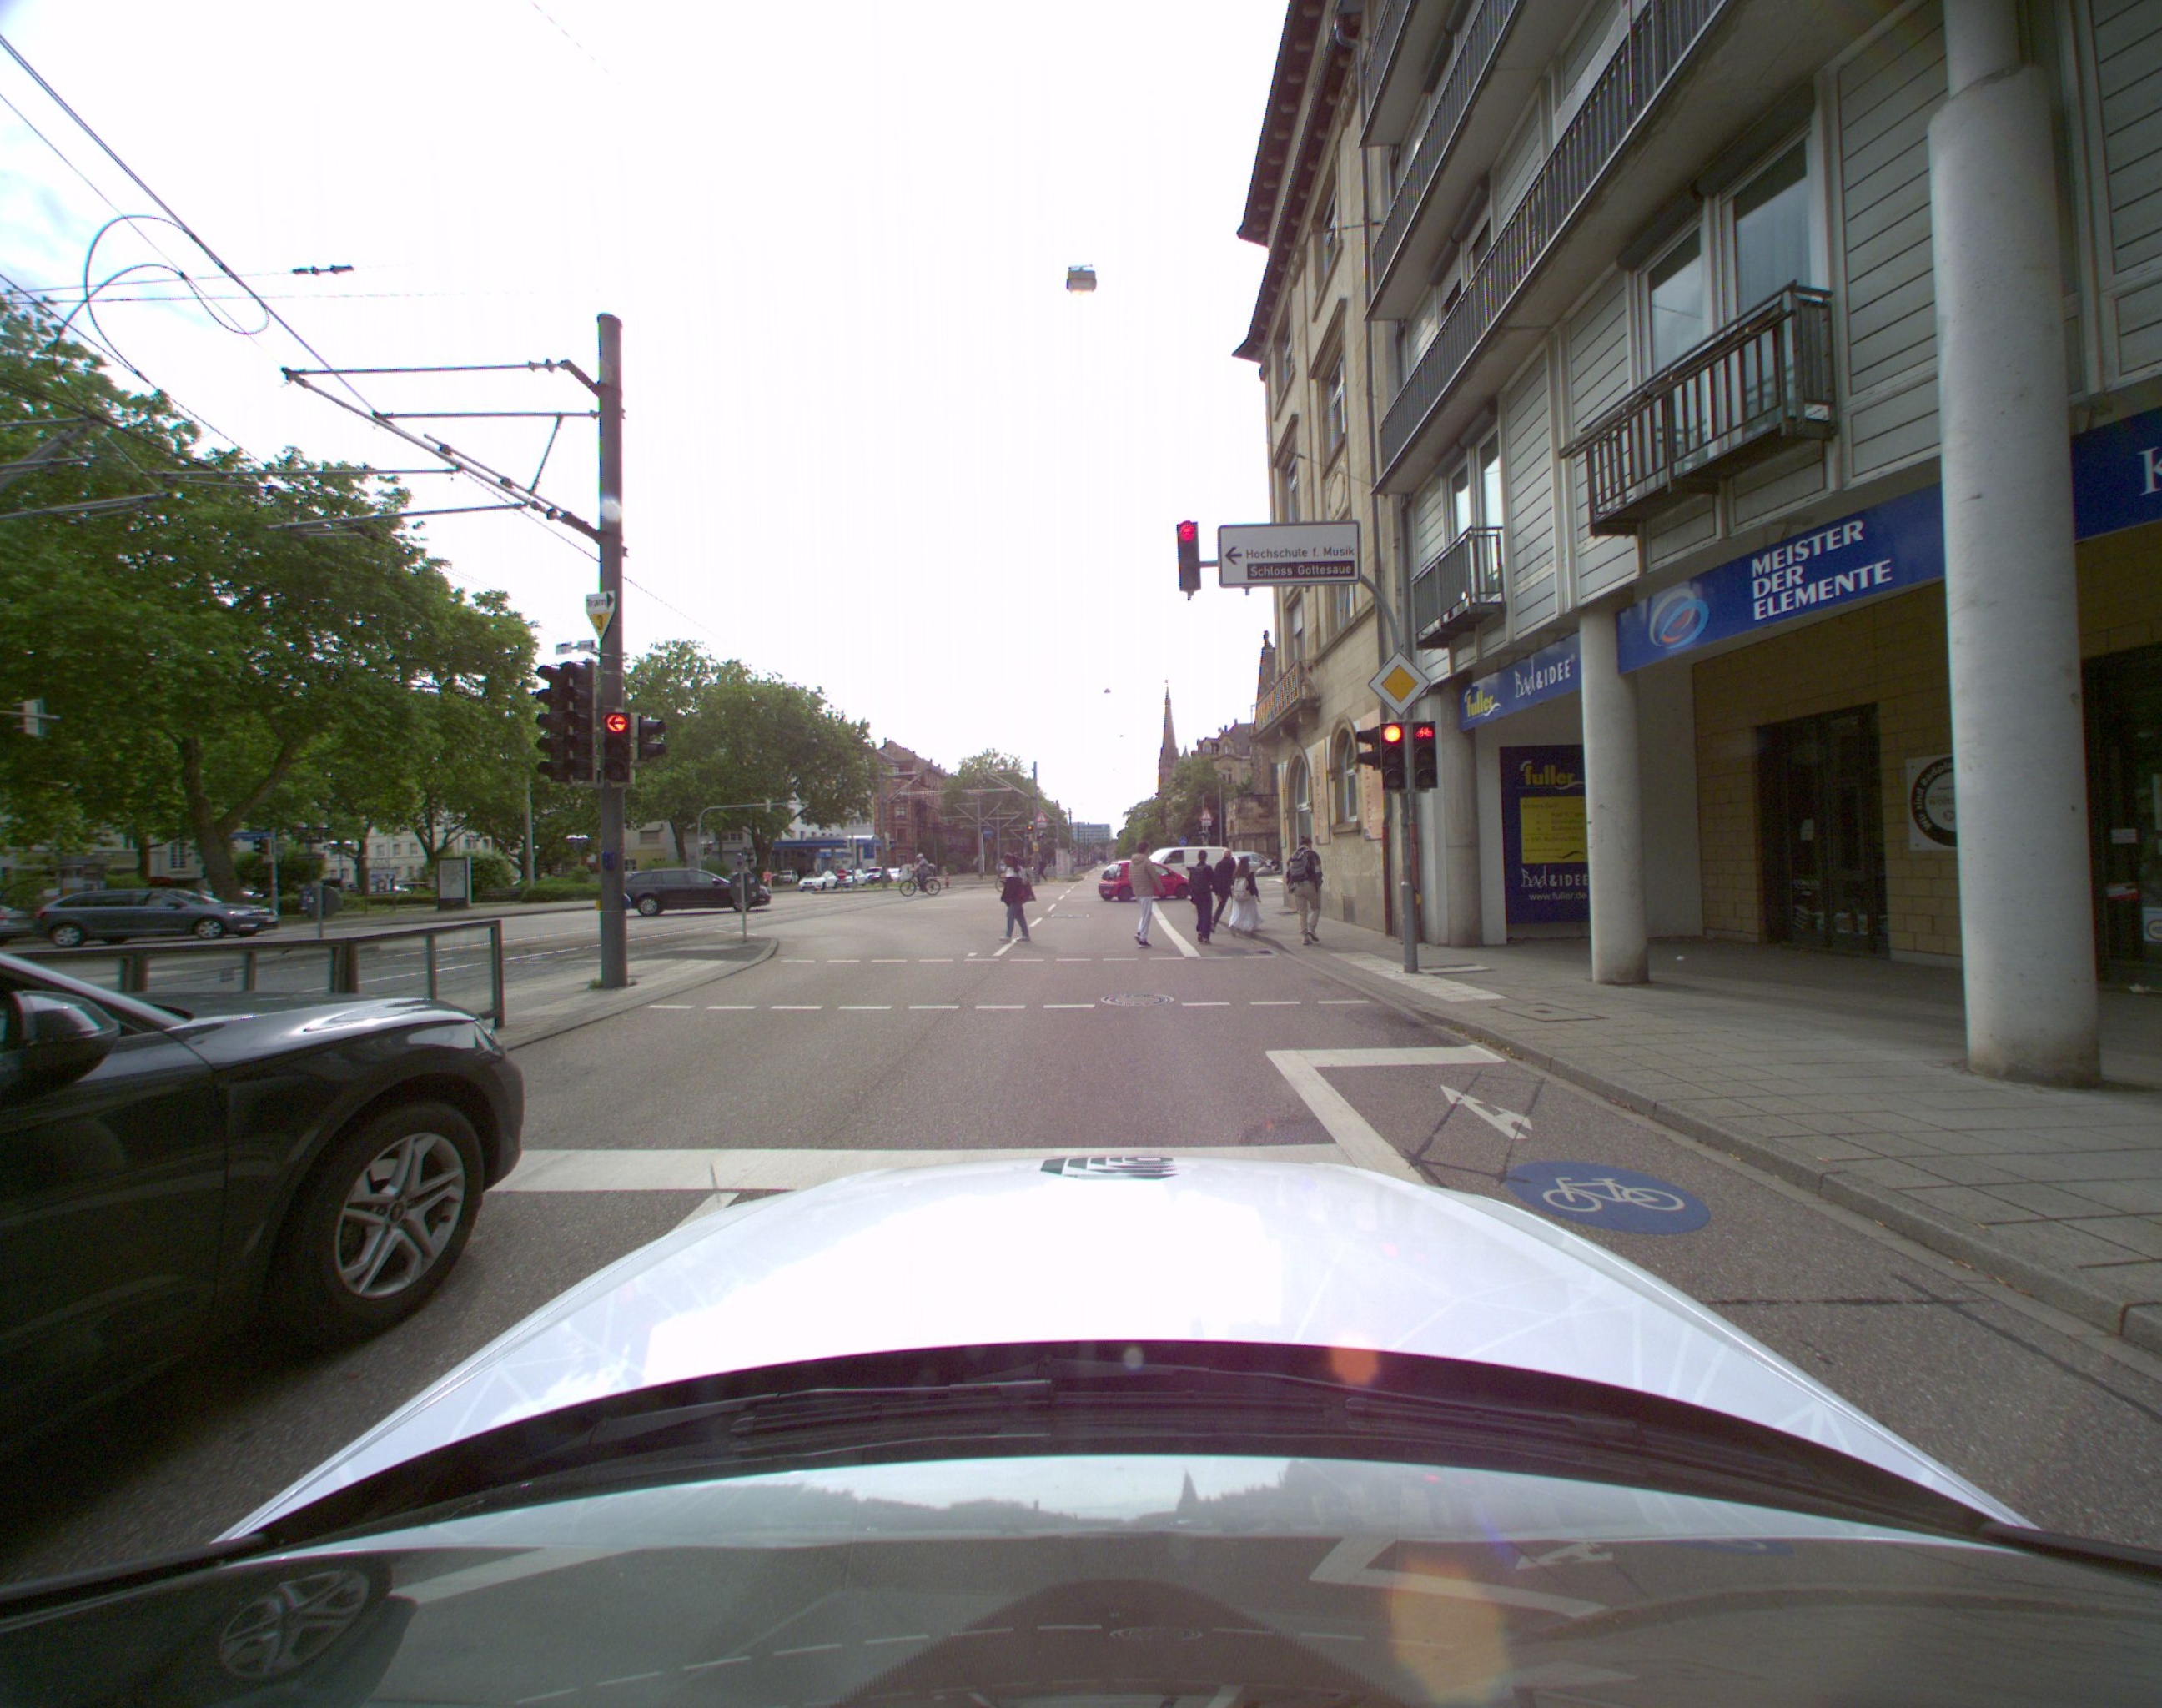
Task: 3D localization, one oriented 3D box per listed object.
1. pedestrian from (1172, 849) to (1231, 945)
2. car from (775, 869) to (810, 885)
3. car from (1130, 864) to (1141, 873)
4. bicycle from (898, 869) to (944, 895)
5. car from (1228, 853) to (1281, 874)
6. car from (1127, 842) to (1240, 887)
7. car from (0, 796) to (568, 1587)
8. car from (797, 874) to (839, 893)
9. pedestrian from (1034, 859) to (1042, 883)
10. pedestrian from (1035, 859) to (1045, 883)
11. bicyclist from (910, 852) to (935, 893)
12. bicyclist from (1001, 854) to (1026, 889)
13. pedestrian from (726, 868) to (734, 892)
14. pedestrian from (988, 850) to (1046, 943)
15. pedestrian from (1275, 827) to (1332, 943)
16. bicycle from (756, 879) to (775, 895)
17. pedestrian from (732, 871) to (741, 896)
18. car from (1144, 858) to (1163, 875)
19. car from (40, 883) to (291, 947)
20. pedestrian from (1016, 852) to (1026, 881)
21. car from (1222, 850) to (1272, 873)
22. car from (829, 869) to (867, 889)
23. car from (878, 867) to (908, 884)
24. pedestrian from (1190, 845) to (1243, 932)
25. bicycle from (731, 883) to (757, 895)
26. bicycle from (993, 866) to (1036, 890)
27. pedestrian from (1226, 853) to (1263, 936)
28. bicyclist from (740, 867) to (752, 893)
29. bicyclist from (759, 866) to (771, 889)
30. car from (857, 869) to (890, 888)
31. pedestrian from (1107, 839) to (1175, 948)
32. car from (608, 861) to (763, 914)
[{"bbox_3d":[2.159,0.747,14.559,0.620,1.653,1.003,-1,-1,39],"label":"pedestrian"},{"bbox_3d":[-28.739,2.247,81.356,1.986,1.530,4.001,0,-1,2],"label":"car"},{"bbox_3d":[11.527,3.028,172.396,1.986,2.014,4.001,0,-1,2],"label":"car"},{"bbox_3d":[-7.146,1.237,36.334,1.910,1.142,0.623,0,-1,-28],"label":"bicycle"},{"bbox_3d":[13.756,0.778,64.762,3.785,1.601,2.001,0,-1,1],"label":"car"},{"bbox_3d":[4.767,0.477,37.741,4.886,1.967,1.973,0,-1,-24],"label":"car"},{"bbox_3d":[-3.144,0.693,1.251,1.873,1.601,4.358,-1,-1,1],"label":"car"},{"bbox_3d":[-19.160,2.121,59.463,1.628,1.325,4.001,0,-1,2],"label":"car"},{"bbox_3d":[-2.779,1.084,52.550,0.544,1.537,0.465,0,-1,-3],"label":"pedestrian"},{"bbox_3d":[-2.600,1.072,51.957,0.651,1.537,0.465,0,-1,-3],"label":"pedestrian"},{"bbox_3d":[-7.085,0.820,36.371,0.970,1.819,0.527,0,-1,-27],"label":"bicyclist"},{"bbox_3d":[-3.195,0.826,38.662,1.041,1.683,0.641,0,-1,-19],"label":"bicyclist"},{"bbox_3d":[-25.700,1.910,59.626,0.370,1.784,0.452,-1,-1,34],"label":"pedestrian"},{"bbox_3d":[-1.193,0.774,15.277,0.663,1.680,0.874,-1,-1,40],"label":"pedestrian"},{"bbox_3d":[3.628,0.490,13.232,0.620,1.779,1.141,-2,-1,27],"label":"pedestrian"},{"bbox_3d":[-21.506,2.218,55.560,0.520,1.017,1.937,0,-1,2],"label":"bicycle"},{"bbox_3d":[-25.228,2.142,59.638,0.370,1.784,0.555,-1,-1,28],"label":"pedestrian"},{"bbox_3d":[8.835,1.509,99.659,1.986,2.014,4.001,0,-1,1],"label":"car"},{"bbox_3d":[-24.048,1.550,21.617,3.997,1.469,1.827,0,-1,-23],"label":"car"},{"bbox_3d":[-3.649,0.761,49.823,0.571,1.794,0.518,0,-1,-3],"label":"pedestrian"},{"bbox_3d":[13.867,0.625,68.174,3.785,1.904,2.001,0,-1,1],"label":"car"},{"bbox_3d":[-18.811,1.975,65.970,1.887,1.557,3.837,0,-1,2],"label":"car"},{"bbox_3d":[-18.378,2.094,79.778,1.887,1.557,3.837,0,-1,2],"label":"car"},{"bbox_3d":[2.881,0.712,17.311,0.906,1.784,0.651,-1,-1,39],"label":"pedestrian"},{"bbox_3d":[-22.861,2.351,55.252,1.665,0.773,0.659,-1,-1,22],"label":"bicycle"},{"bbox_3d":[-3.165,1.120,38.631,1.943,1.136,0.731,0,-1,-19],"label":"bicycle"},{"bbox_3d":[3.235,0.787,16.169,0.696,1.593,0.833,0,-1,10],"label":"pedestrian"},{"bbox_3d":[-22.721,1.775,55.218,0.528,1.784,0.472,-1,-1,21],"label":"bicyclist"},{"bbox_3d":[-21.663,1.587,55.893,0.585,1.568,0.619,0,-1,1],"label":"bicyclist"},{"bbox_3d":[-18.581,2.182,72.976,1.887,1.557,3.837,0,-1,2],"label":"car"},{"bbox_3d":[1.029,0.662,14.055,1.015,1.813,0.580,0,-1,-22],"label":"pedestrian"},{"bbox_3d":[-12.600,1.017,26.234,4.346,1.586,1.797,0,-1,-24],"label":"car"}]
